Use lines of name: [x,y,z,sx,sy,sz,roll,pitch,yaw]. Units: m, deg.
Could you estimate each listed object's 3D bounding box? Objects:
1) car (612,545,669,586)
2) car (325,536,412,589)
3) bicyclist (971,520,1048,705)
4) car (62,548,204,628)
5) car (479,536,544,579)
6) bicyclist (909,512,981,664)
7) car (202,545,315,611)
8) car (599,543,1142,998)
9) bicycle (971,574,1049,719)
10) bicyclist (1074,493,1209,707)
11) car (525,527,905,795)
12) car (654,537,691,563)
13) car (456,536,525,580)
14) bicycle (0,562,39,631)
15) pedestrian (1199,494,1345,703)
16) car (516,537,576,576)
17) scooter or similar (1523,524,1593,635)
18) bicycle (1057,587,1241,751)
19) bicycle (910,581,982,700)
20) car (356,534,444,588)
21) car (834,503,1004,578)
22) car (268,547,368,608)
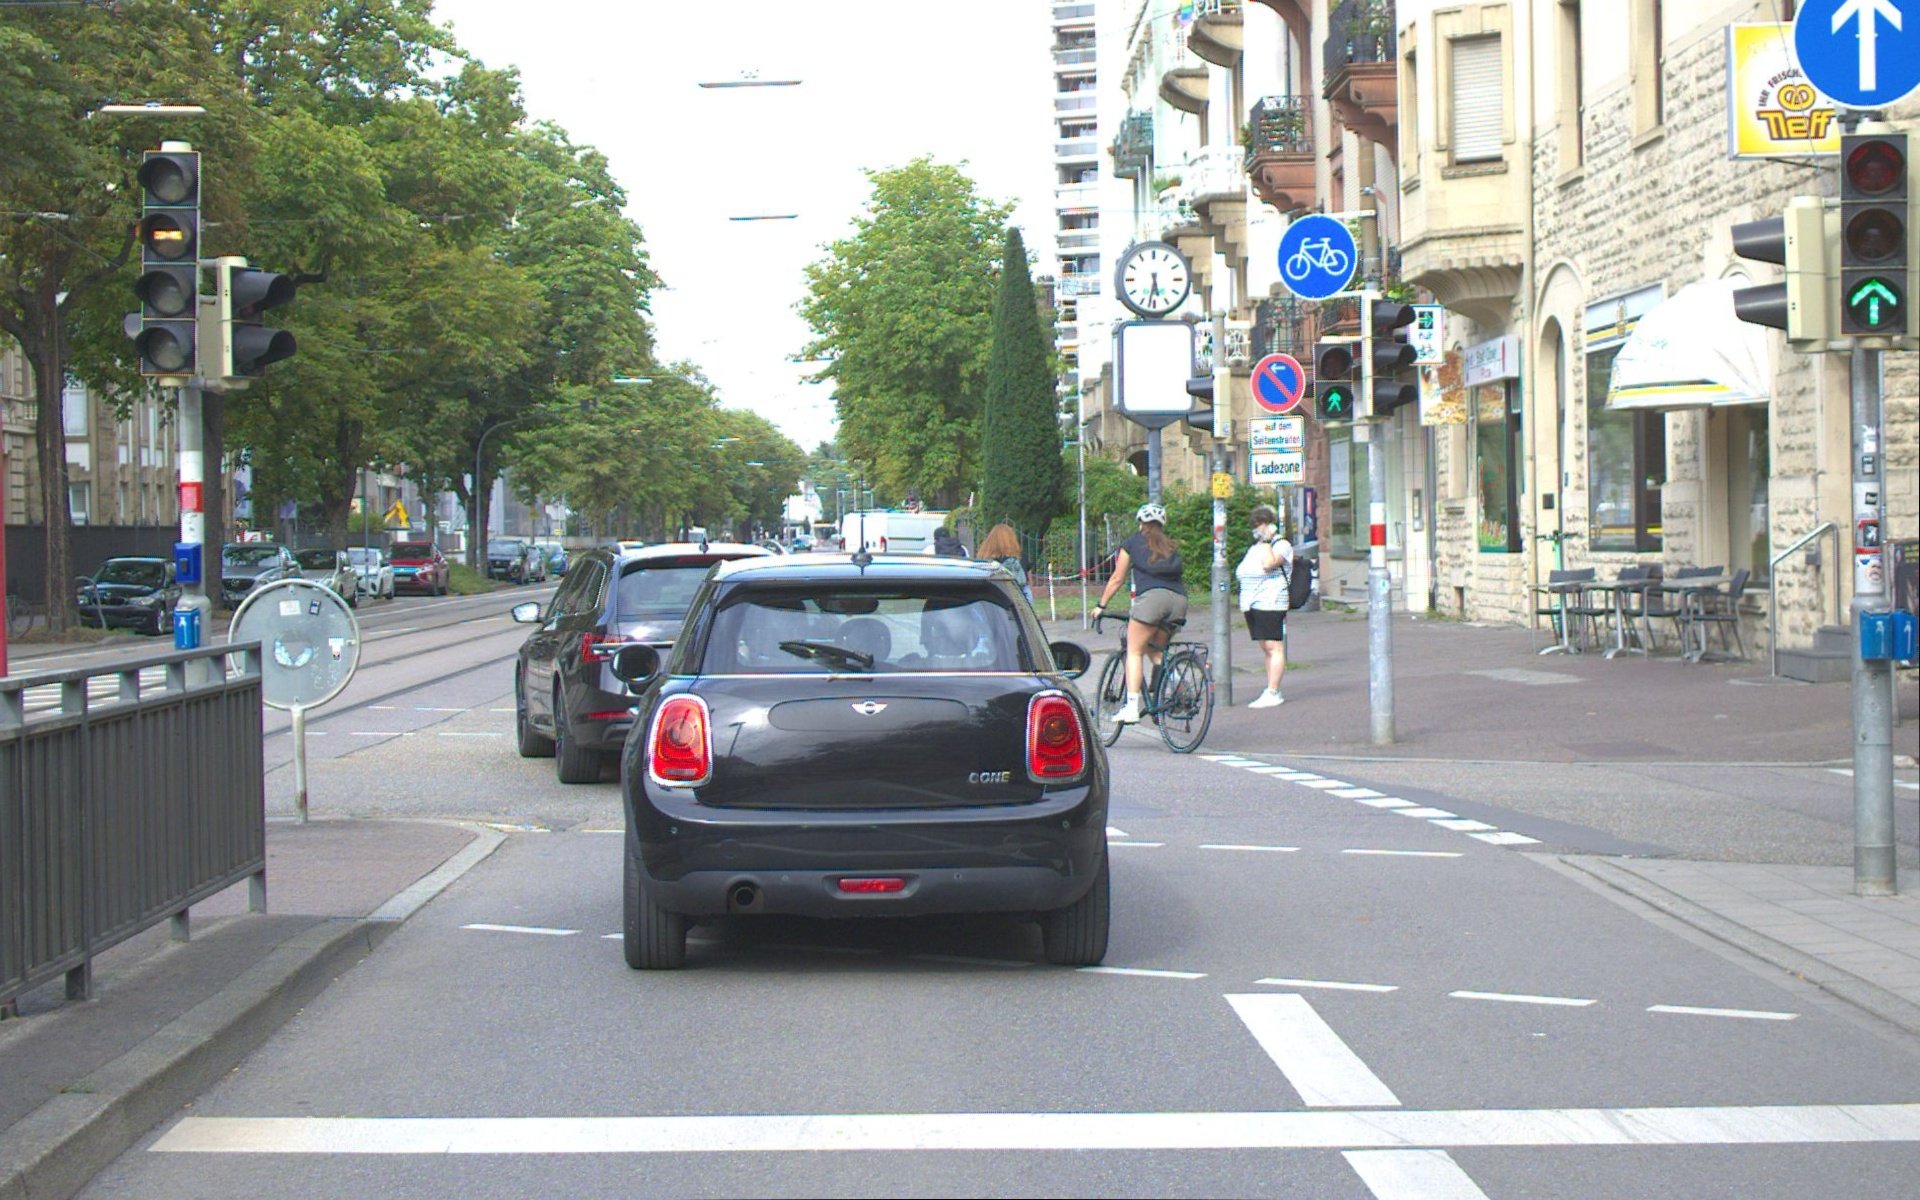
car: [-11.645,-1.276,125.508,1.767,1.390,4.000,-1,1,-2]
car: [-16.314,-1.043,94.978,1.767,1.390,4.000,-1,1,-2]
bicyclist: [0.415,0.093,29.444,0.594,1.545,1.014,-1,1,-1]
car: [-15.507,-0.254,64.642,1.767,1.390,4.000,-1,1,-2]
car: [-17.260,-1.651,132.541,1.993,1.546,4.000,-1,1,0]
bicyclist: [-0.151,-0.134,36.038,0.684,1.558,0.998,-1,1,1]
car: [-15.612,-0.510,76.666,1.767,1.390,4.000,-1,1,-2]
car: [-0.434,0.521,13.271,1.751,1.436,4.001,-1,1,-4]
bicycle: [0.419,0.379,29.454,0.598,1.166,1.697,-1,1,-1]
bicyclist: [1.279,-0.010,24.386,0.614,1.467,0.915,-2,1,-20]
car: [-1.669,0.317,22.042,1.926,1.504,4.001,-2,1,-11]
car: [-18.323,-3.200,219.181,1.993,1.546,4.000,-1,1,0]
car: [-17.225,-1.552,126.341,1.993,1.546,4.000,-1,1,0]
bicycle: [-16.241,-0.042,57.167,1.667,1.115,0.573,-3,2,-40]
pedestrian: [2.611,-0.012,28.743,0.833,1.668,0.732,-6,2,-44]
car: [-17.152,-1.825,142.576,1.993,1.546,4.000,-1,1,0]
scooter or similar: [6.548,-0.232,37.682,0.508,1.184,1.262,-1,1,-1]
bicycle: [1.318,0.462,24.294,0.614,1.073,1.821,-2,1,-20]
bicycle: [-0.136,0.412,36.043,0.684,1.166,1.697,-1,1,1]
car: [-16.810,-1.178,103.374,1.993,1.546,4.000,-1,1,0]
car: [-1.282,-1.906,109.032,5.025,2.265,2.396,-2,2,-41]
car: [-15.717,-0.567,84.340,1.767,1.390,4.000,-1,1,-2]
